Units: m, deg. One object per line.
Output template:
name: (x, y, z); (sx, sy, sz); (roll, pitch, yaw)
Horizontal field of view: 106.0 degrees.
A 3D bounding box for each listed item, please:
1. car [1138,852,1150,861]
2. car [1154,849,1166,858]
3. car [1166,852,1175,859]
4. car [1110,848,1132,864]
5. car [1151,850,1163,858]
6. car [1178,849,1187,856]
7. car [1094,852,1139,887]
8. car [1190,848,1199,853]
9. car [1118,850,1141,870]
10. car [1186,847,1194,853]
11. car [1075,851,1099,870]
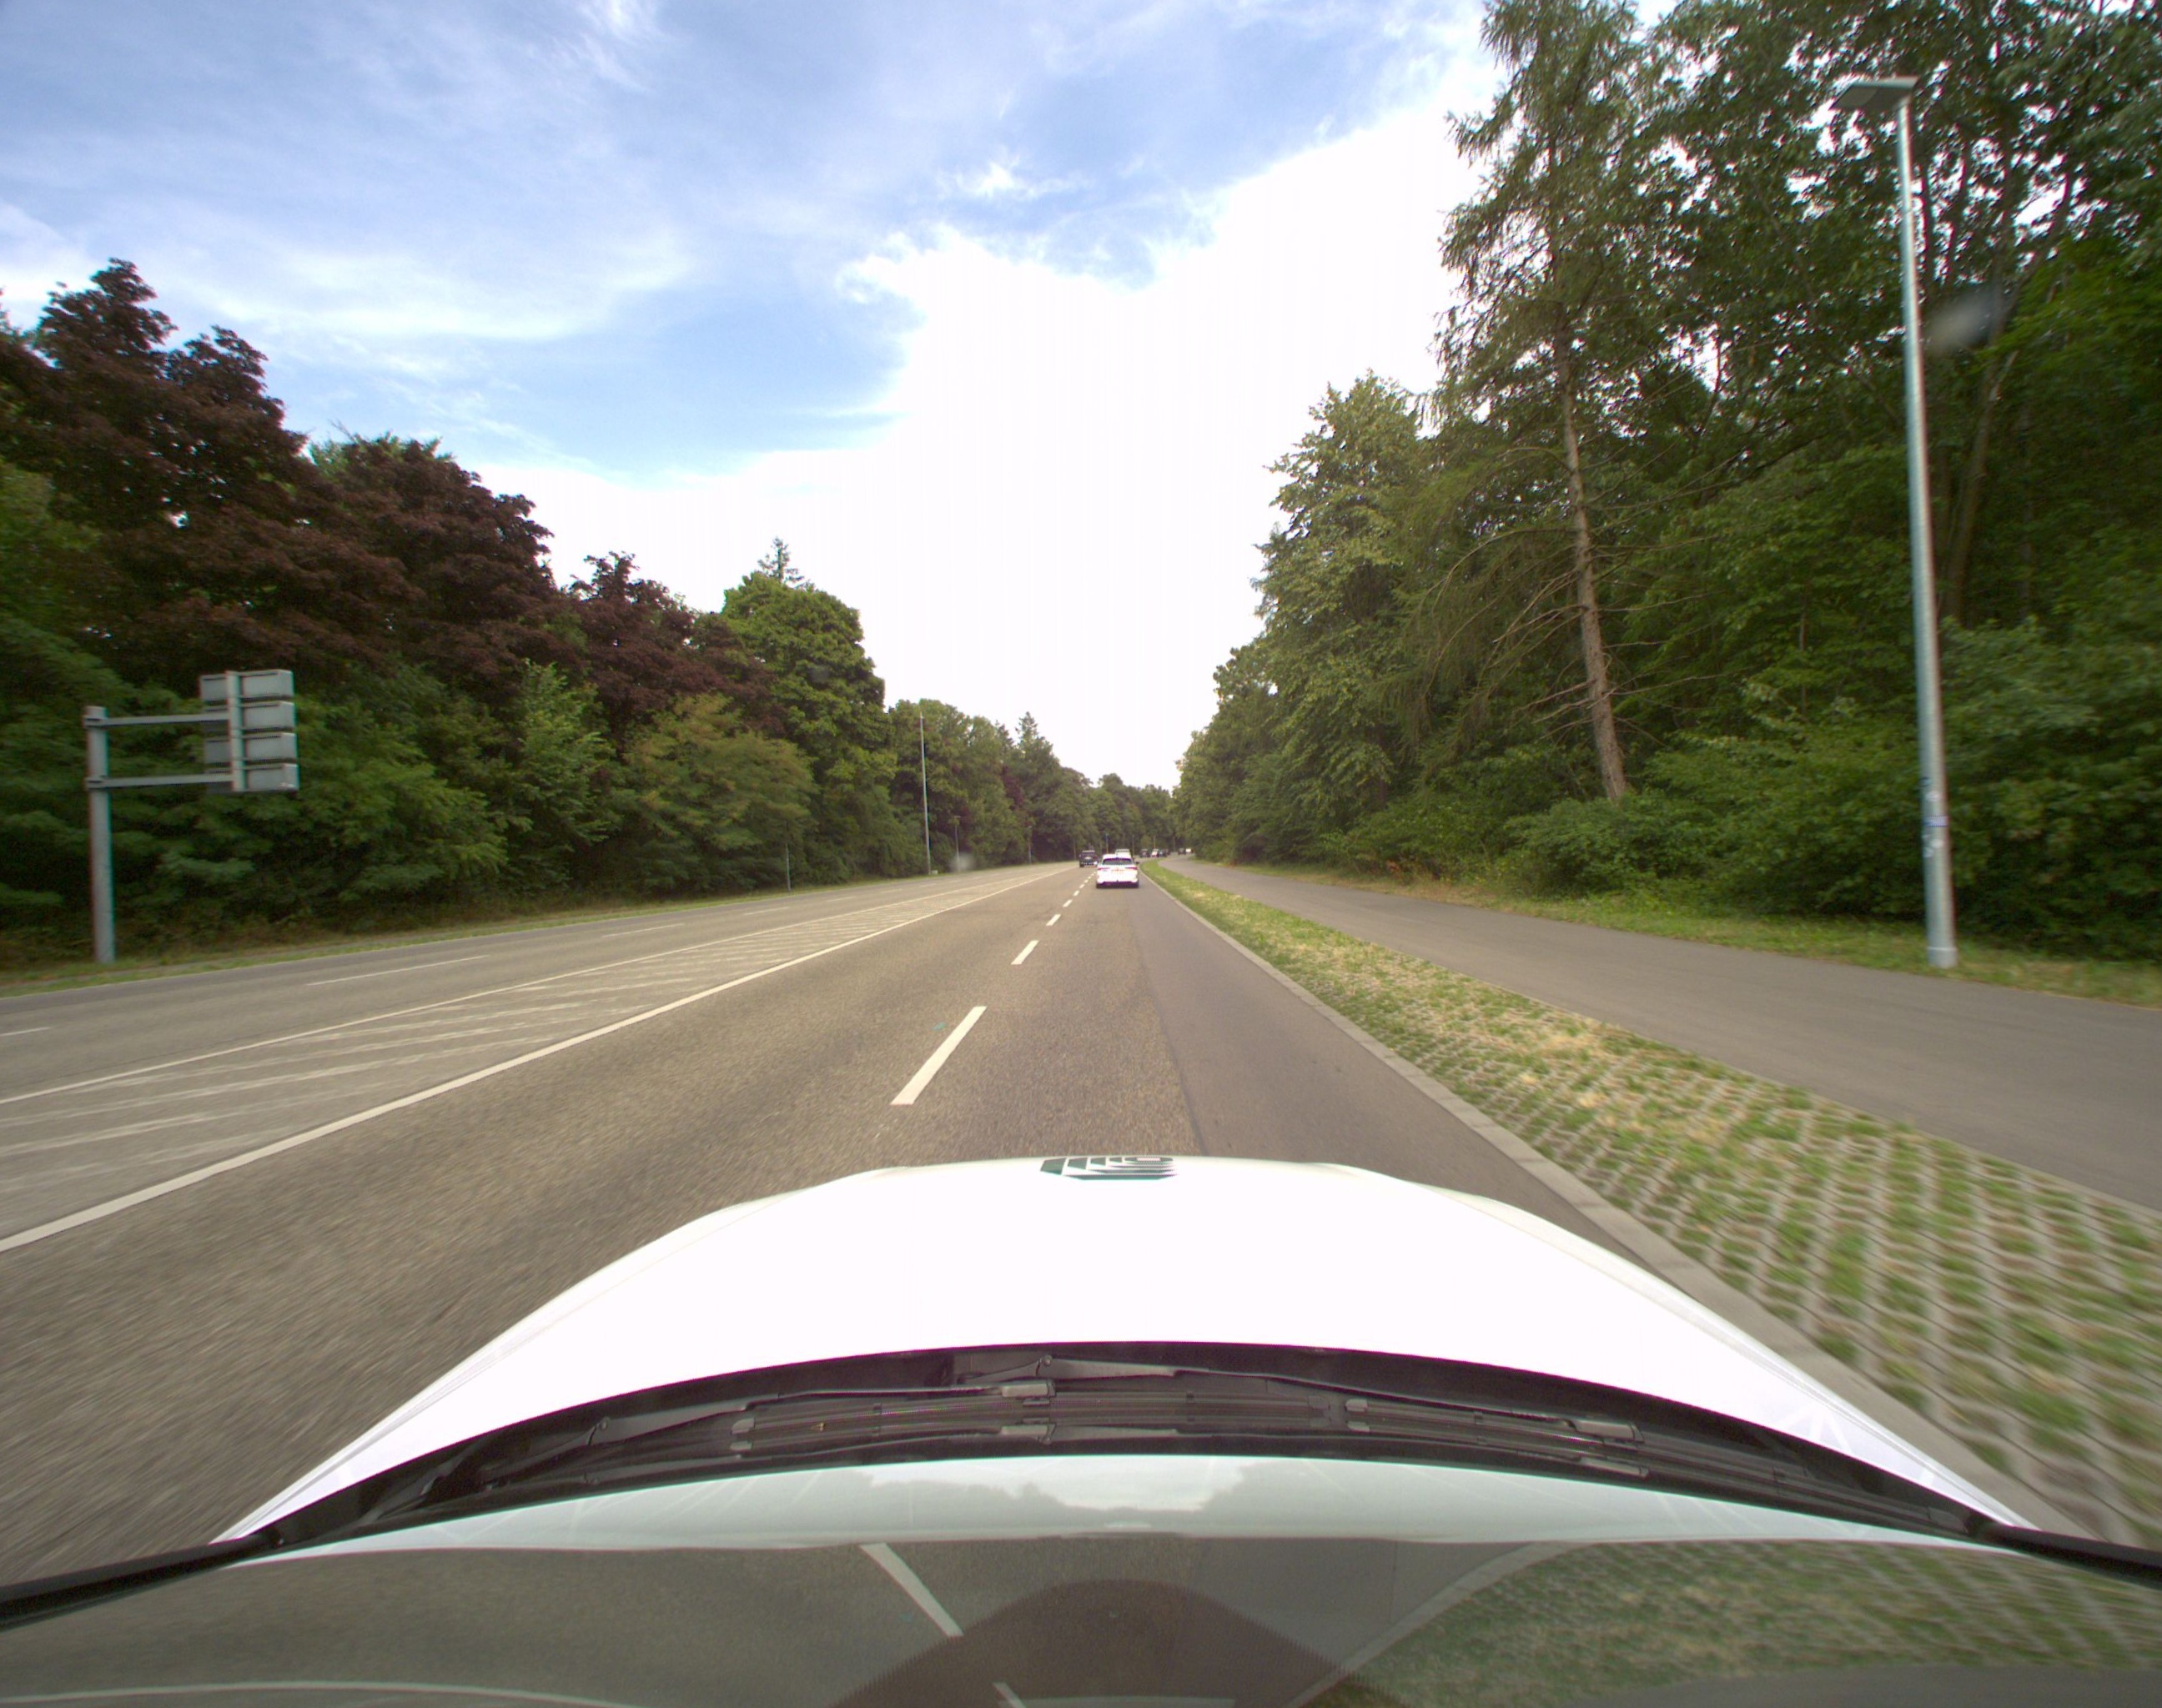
car: (12.496, 0.476, 161.330); (1.982, 1.783, 4.010); (0, -1, 9)
car: (15.724, -0.141, 161.352); (1.981, 1.783, 4.011); (0, -1, 10)
car: (21.873, 0.340, 198.814); (1.980, 1.783, 4.013); (0, -1, 12)
car: (4.105, 0.188, 83.304); (1.983, 1.607, 4.008); (0, 0, 7)
car: (16.871, 0.068, 180.393); (1.979, 1.783, 4.015); (0, -1, 14)
car: (25.756, -0.445, 206.105); (1.980, 1.783, 4.014); (0, -1, 13)
car: (1.478, 0.639, 34.965); (1.830, 1.410, 4.491); (0, -1, 1)
car: (32.284, -0.984, 231.861); (1.979, 1.409, 4.015); (0, -1, 15)
car: (3.574, 0.430, 59.705); (1.628, 1.420, 4.004); (0, -1, 4)
car: (32.922, -1.307, 245.825); (1.874, 1.816, 4.016); (0, -1, 15)
car: (0.631, 0.616, 80.493); (1.984, 1.786, 4.005); (0, -1, 5)
